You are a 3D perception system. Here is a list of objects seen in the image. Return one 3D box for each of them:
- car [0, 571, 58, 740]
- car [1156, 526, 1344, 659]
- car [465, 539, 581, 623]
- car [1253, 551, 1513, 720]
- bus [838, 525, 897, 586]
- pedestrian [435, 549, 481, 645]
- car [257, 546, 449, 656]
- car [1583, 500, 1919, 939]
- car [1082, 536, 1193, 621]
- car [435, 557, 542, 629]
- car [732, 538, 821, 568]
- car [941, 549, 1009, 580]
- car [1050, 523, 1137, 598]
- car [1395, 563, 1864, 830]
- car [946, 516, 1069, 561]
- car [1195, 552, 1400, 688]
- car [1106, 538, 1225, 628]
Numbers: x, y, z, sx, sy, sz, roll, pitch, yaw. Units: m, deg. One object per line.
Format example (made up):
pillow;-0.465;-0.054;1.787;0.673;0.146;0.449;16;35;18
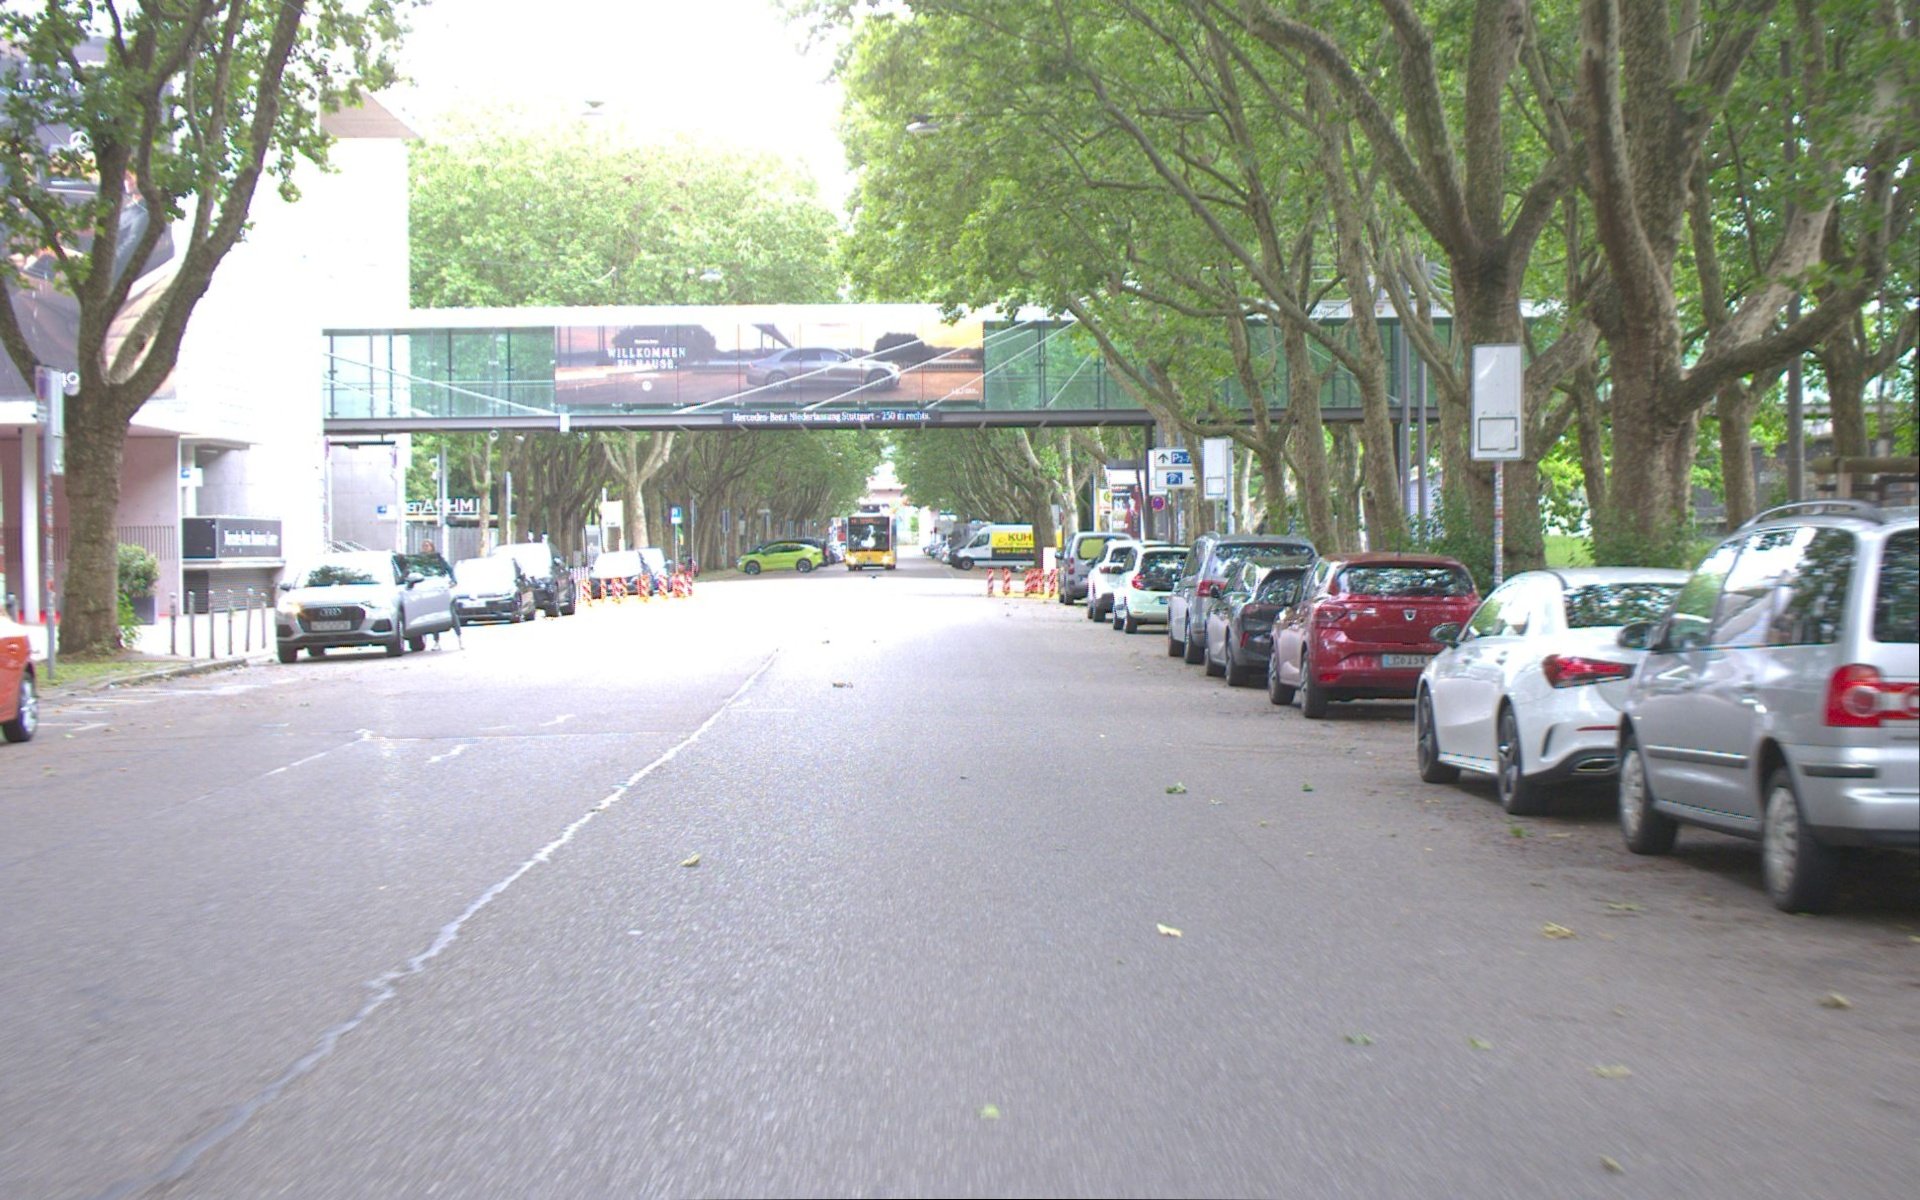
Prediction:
car;-8.690;0.469;27.706;1.808;1.349;4.000;0;1;0
car;3.817;-0.124;45.980;1.981;1.674;4.732;0;1;-1
car;-10.183;-0.482;80.474;2.034;1.783;4.908;-3;1;0
car;3.914;0.283;32.411;1.856;1.476;4.178;0;1;-1
bus;-5.129;-2.483;190.734;3.038;3.149;12.678;-2;1;-1
pedestrian;-7.774;-0.051;53.256;0.584;1.461;0.567;1;1;3
car;-9.111;-0.025;51.974;2.073;1.557;4.756;0;1;0
car;4.257;0.430;15.835;1.903;1.733;4.507;0;1;-1
car;3.497;-0.443;68.535;1.914;1.612;4.749;0;1;0
car;-10.239;-0.175;74.865;1.704;1.415;4.325;-3;1;0
car;-9.862;-2.547;185.057;4.700;1.579;1.864;0;1;1
car;0.885;-2.116;202.659;3.987;1.788;1.543;0;1;-1
car;3.263;-0.985;84.863;1.847;1.777;5.211;1;1;-1
car;3.963;0.504;21.143;1.877;1.422;4.586;0;1;-1
car;2.662;-3.501;195.196;6.822;2.505;2.317;-1;1;-2
car;3.769;0.185;39.083;1.877;1.422;4.480;0;1;0
car;3.596;-0.314;60.668;1.807;1.521;4.096;0;1;0
